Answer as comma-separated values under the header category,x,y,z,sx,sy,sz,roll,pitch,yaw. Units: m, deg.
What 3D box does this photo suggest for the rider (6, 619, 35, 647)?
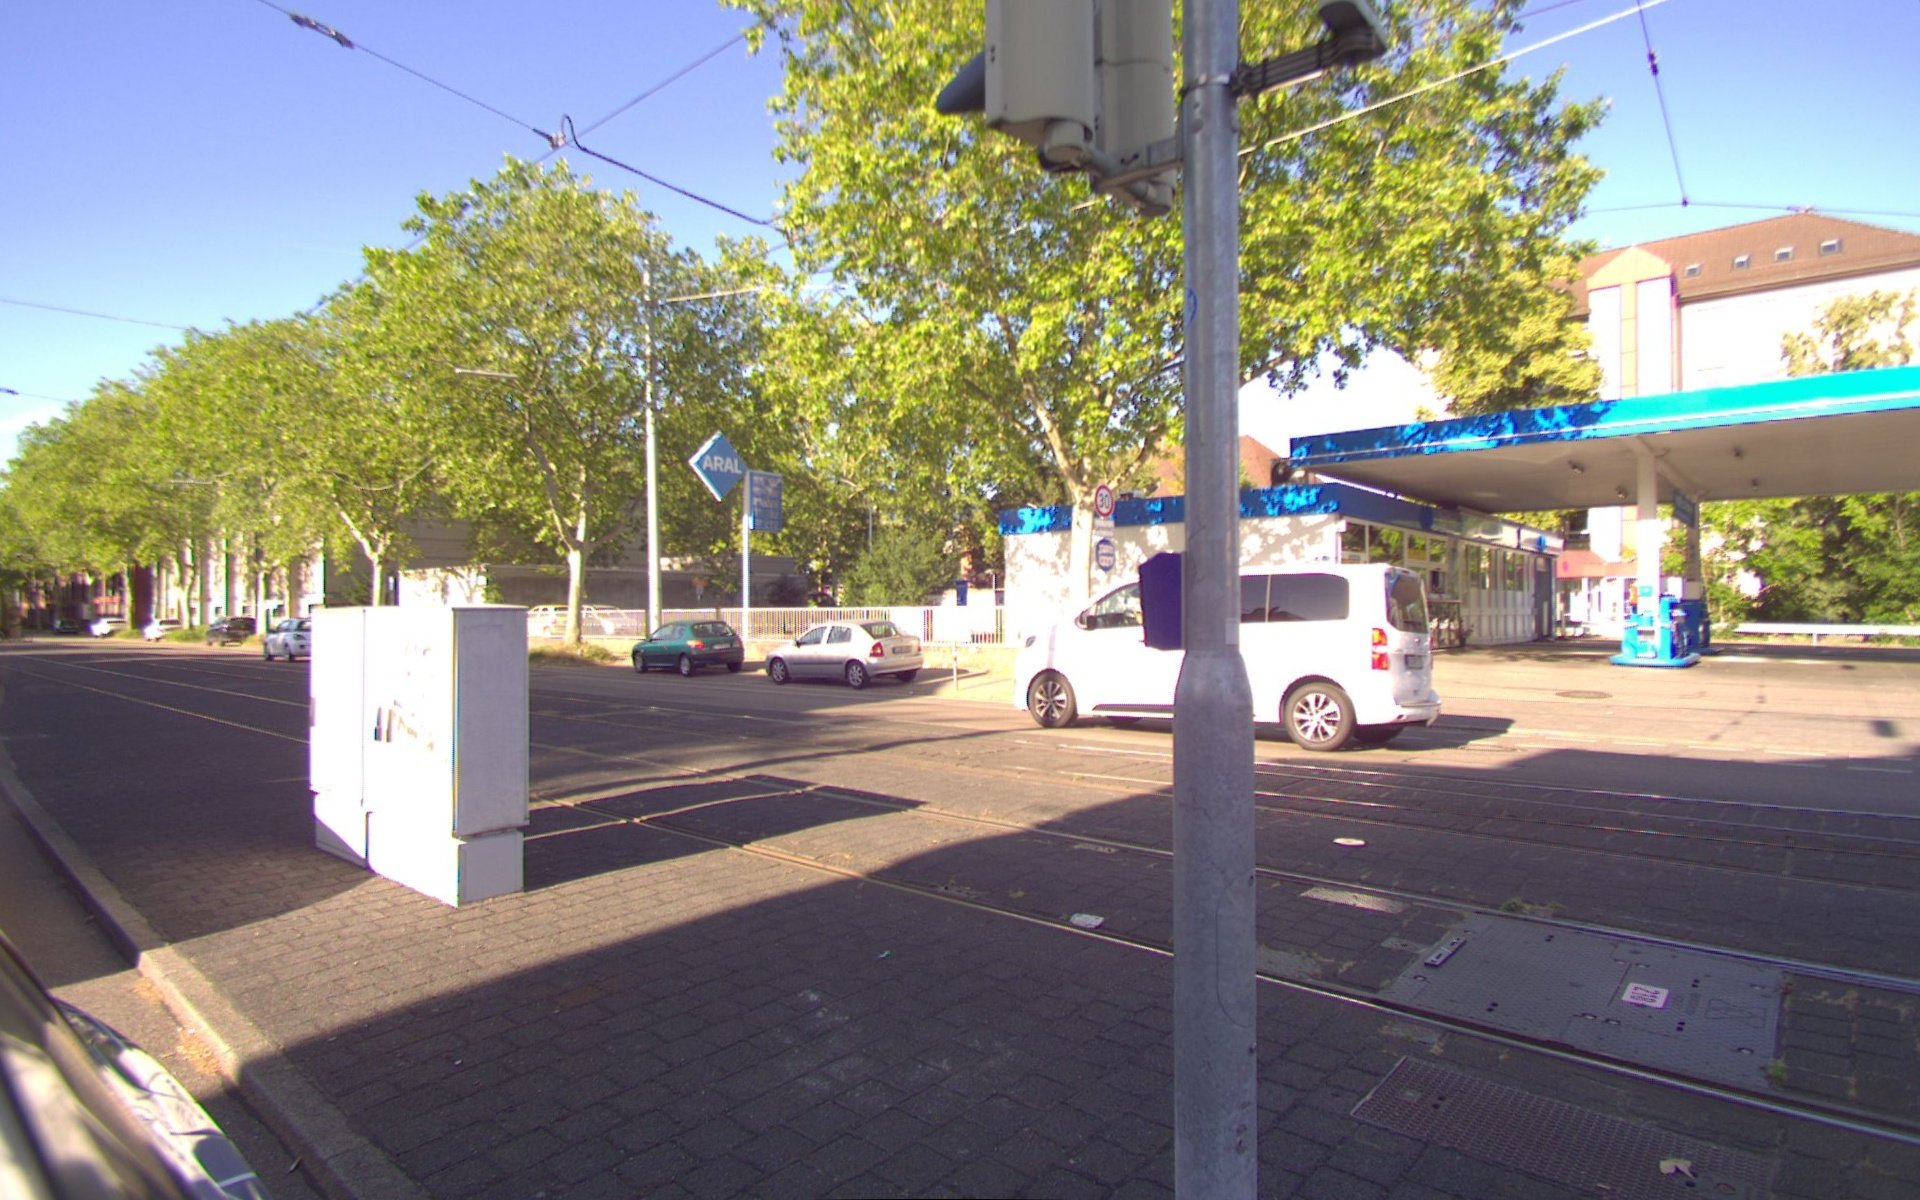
category,x,y,z,sx,sy,sz,roll,pitch,yaw
rider,-55.797,1.955,60.111,1.091,1.660,0.726,-1,0,0

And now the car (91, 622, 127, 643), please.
category,x,y,z,sx,sy,sz,roll,pitch,yaw
car,-66.789,2.506,79.407,3.731,1.471,1.639,-1,2,43

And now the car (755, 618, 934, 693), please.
category,x,y,z,sx,sy,sz,roll,pitch,yaw
car,-2.629,1.186,22.595,3.987,1.376,1.666,-2,3,41

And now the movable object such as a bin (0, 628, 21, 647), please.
category,x,y,z,sx,sy,sz,roll,pitch,yaw
movable object such as a bin,-57.260,2.227,60.123,1.809,1.111,1.179,-1,0,0

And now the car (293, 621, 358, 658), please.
category,x,y,z,sx,sy,sz,roll,pitch,yaw
car,-28.828,1.762,45.967,3.377,1.506,1.639,-1,2,43

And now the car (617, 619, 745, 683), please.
category,x,y,z,sx,sy,sz,roll,pitch,yaw
car,-7.469,1.298,26.960,3.606,1.455,1.598,-1,2,43

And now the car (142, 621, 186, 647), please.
category,x,y,z,sx,sy,sz,roll,pitch,yaw
car,-53.702,2.290,68.240,3.878,1.552,1.731,-1,2,43

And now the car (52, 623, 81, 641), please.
category,x,y,z,sx,sy,sz,roll,pitch,yaw
car,-85.038,3.019,96.326,3.731,1.471,1.639,-1,2,43

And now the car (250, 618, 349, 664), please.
category,x,y,z,sx,sy,sz,roll,pitch,yaw
car,-22.173,1.370,33.927,3.933,1.446,1.720,-1,-4,41

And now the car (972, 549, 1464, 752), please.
category,x,y,z,sx,sy,sz,roll,pitch,yaw
car,2.775,0.565,11.766,5.212,1.868,1.973,-1,-4,40

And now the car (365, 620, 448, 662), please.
category,x,y,z,sx,sy,sz,roll,pitch,yaw
car,-21.853,1.568,39.912,3.769,1.455,1.701,-1,2,43

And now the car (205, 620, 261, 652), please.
category,x,y,z,sx,sy,sz,roll,pitch,yaw
car,-40.644,1.984,56.554,3.878,1.603,1.731,-1,2,43
